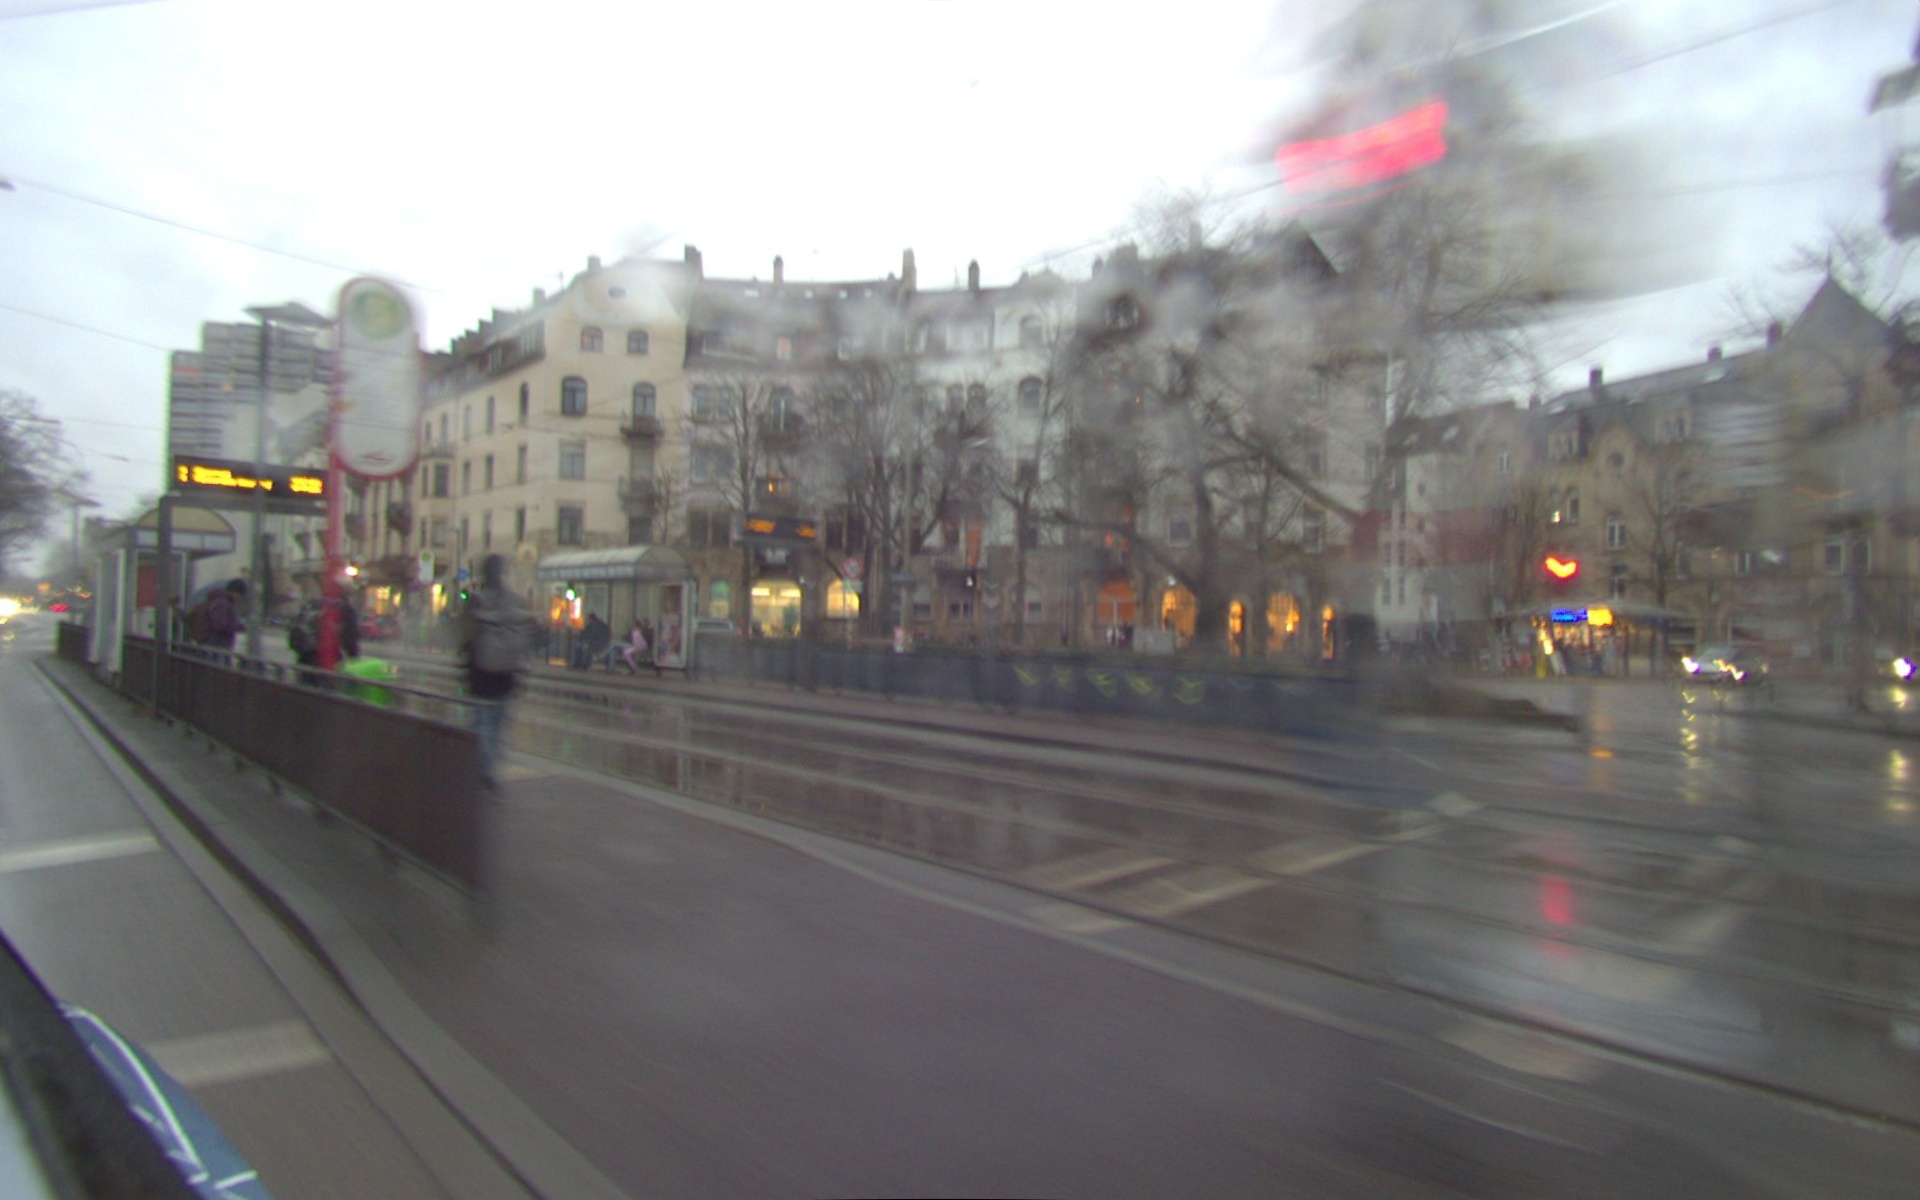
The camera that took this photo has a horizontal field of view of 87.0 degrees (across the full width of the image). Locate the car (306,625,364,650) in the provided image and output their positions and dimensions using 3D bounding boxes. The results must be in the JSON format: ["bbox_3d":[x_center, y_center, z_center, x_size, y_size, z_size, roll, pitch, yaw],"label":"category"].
[{"bbox_3d":[-37.244,2.203,60.241,4.508,1.400,1.782,-1,0,42],"label":"car"}]

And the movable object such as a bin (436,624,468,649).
[{"bbox_3d":[-29.785,2.117,59.330,1.282,1.382,1.334,-1,0,44],"label":"movable object such as a bin"}]

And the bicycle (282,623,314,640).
[{"bbox_3d":[-50.864,2.417,77.789,0.531,1.167,1.962,-1,0,45],"label":"bicycle"}]

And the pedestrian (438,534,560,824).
[{"bbox_3d":[-3.293,0.522,7.211,0.677,1.932,0.720,-1,0,-33],"label":"pedestrian"}]

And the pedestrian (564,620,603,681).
[{"bbox_3d":[-9.034,1.207,24.275,0.676,1.414,0.579,-1,0,-45],"label":"pedestrian"}]

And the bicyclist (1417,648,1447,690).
[{"bbox_3d":[16.056,2.348,34.442,0.754,1.374,0.531,1,-2,-2],"label":"bicyclist"}]

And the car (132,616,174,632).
[{"bbox_3d":[-97.664,2.895,122.471,3.785,1.730,1.729,-1,-1,-44],"label":"car"}]

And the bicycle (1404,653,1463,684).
[{"bbox_3d":[16.112,2.334,34.455,1.785,1.014,0.492,1,-2,-1],"label":"bicycle"}]

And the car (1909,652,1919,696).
[{"bbox_3d":[40.208,3.012,40.430,3.930,1.719,2.006,3,-3,-25],"label":"car"}]

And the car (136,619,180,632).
[{"bbox_3d":[-90.500,2.857,114.224,3.785,1.424,1.729,0,-1,-44],"label":"car"}]

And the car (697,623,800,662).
[{"bbox_3d":[-9.430,1.897,45.021,4.269,1.595,1.943,2,-2,-17],"label":"car"}]

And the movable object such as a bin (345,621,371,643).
[{"bbox_3d":[-39.695,2.108,66.756,1.074,1.442,1.222,-1,0,44],"label":"movable object such as a bin"}]

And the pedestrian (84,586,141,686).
[{"bbox_3d":[-17.116,0.715,20.442,0.843,1.970,0.571,-1,0,-44],"label":"pedestrian"}]

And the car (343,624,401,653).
[{"bbox_3d":[-32.977,2.118,56.727,3.676,1.528,1.655,-1,0,40],"label":"car"}]

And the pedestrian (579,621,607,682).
[{"bbox_3d":[-8.682,1.206,23.918,0.467,1.414,0.454,-1,0,-45],"label":"pedestrian"}]

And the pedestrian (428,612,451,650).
[{"bbox_3d":[-26.824,1.595,52.187,0.785,1.892,0.896,-1,0,-8],"label":"pedestrian"}]

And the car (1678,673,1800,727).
[{"bbox_3d":[27.890,3.564,36.237,3.795,1.785,1.886,3,-3,-25],"label":"car"}]

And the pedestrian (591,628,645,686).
[{"bbox_3d":[-7.847,1.283,23.239,1.044,1.264,0.507,-1,0,-45],"label":"pedestrian"}]

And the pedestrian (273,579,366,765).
[{"bbox_3d":[-6.184,0.661,9.773,0.649,1.721,0.571,-1,0,-44],"label":"pedestrian"}]

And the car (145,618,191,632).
[{"bbox_3d":[-86.254,2.732,110.231,3.785,1.424,1.729,-1,0,-44],"label":"car"}]

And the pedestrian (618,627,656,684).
[{"bbox_3d":[-7.286,1.243,22.827,0.645,1.227,0.517,-1,0,-45],"label":"pedestrian"}]

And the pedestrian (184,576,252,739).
[{"bbox_3d":[-8.560,0.639,11.681,0.550,1.821,0.571,-1,0,-44],"label":"pedestrian"}]
